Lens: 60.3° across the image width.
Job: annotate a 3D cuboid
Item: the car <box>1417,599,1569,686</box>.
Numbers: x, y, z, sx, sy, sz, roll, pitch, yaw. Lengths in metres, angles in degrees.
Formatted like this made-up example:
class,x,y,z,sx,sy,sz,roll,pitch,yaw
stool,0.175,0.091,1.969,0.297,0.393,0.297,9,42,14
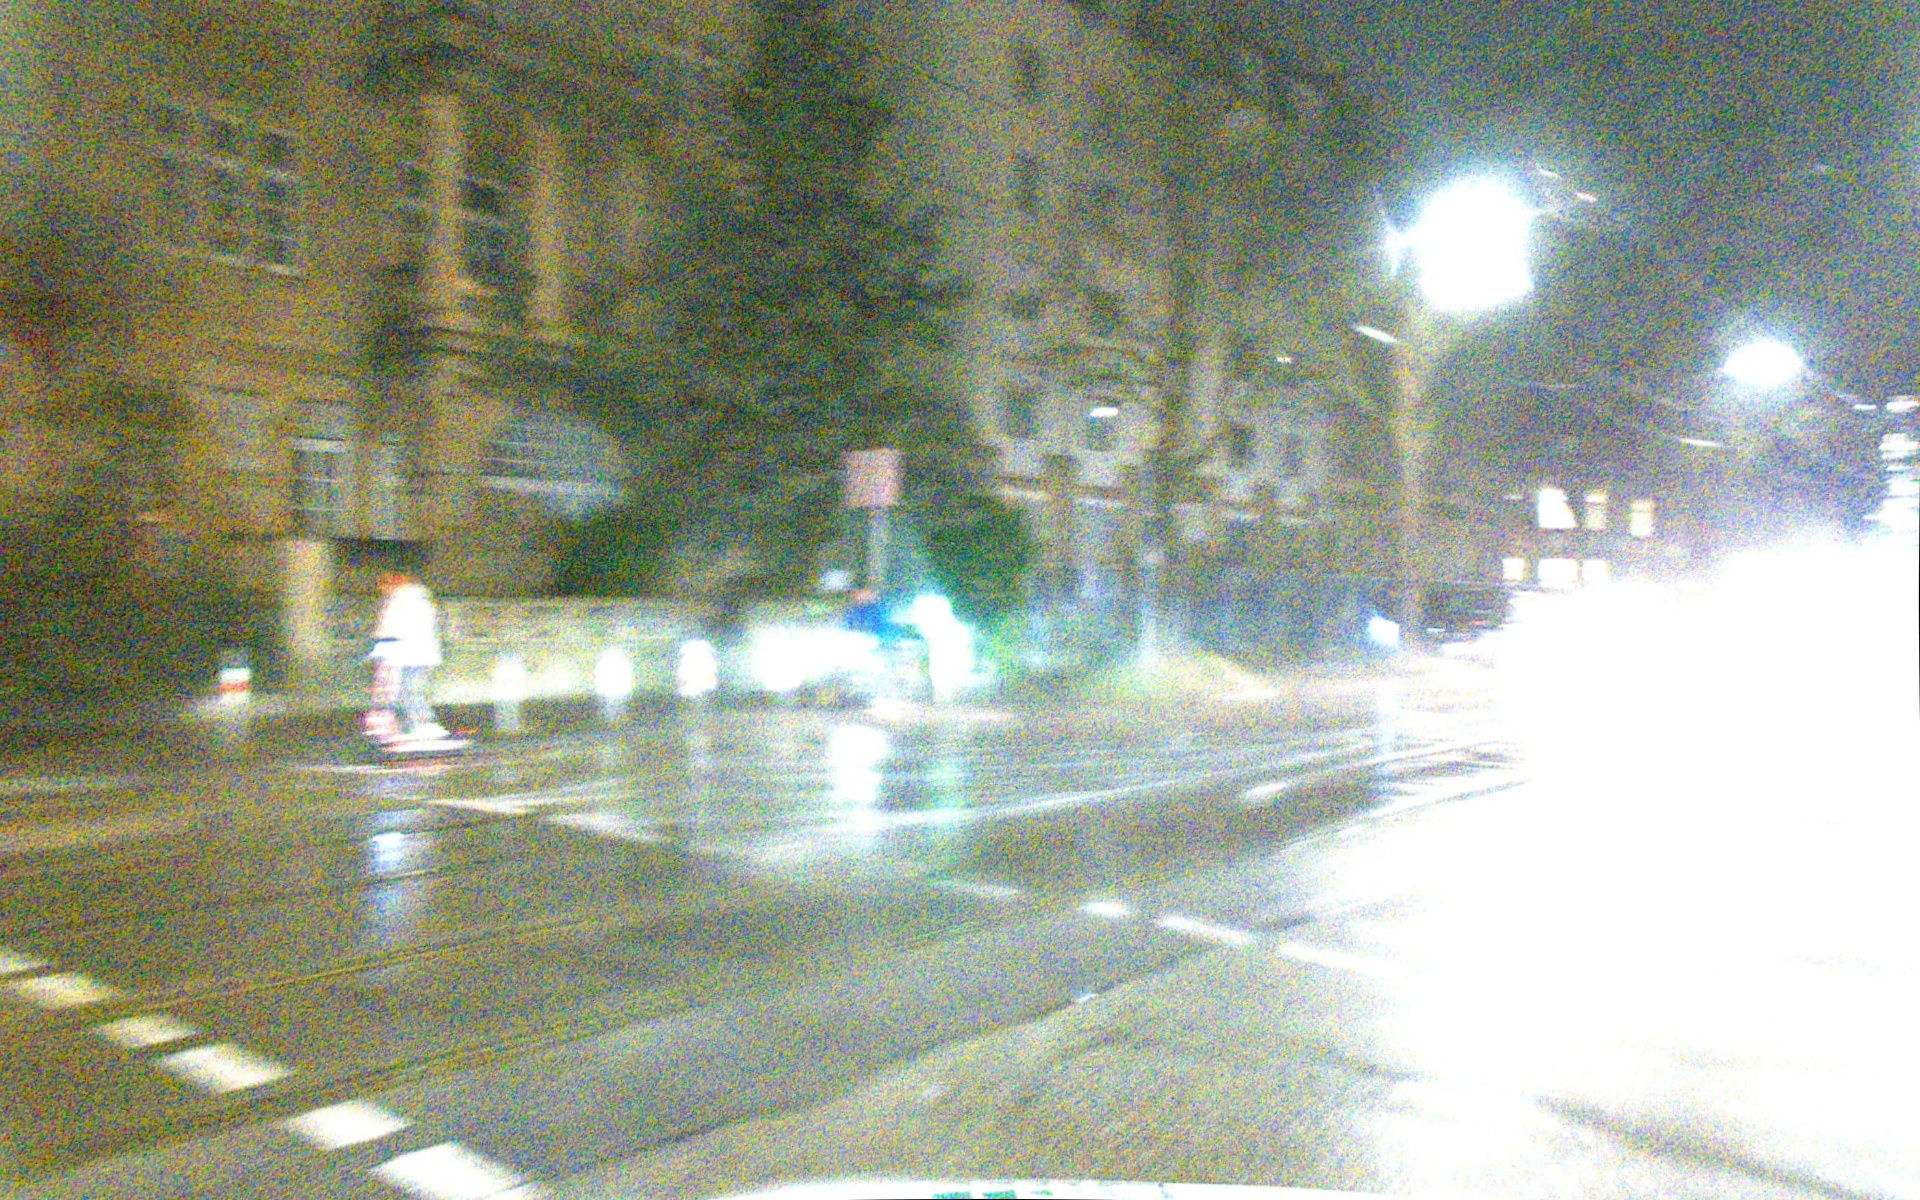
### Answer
class,x,y,z,sx,sy,sz,roll,pitch,yaw
car,13.166,0.967,40.625,1.961,1.857,5.289,4,3,36

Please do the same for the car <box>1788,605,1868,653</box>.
class,x,y,z,sx,sy,sz,roll,pitch,yaw
car,28.508,0.908,54.286,1.763,1.490,3.885,0,0,36

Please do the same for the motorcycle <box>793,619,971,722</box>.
class,x,y,z,sx,sy,sz,roll,pitch,yaw
motorcycle,-0.972,0.885,21.163,2.301,1.252,0.700,1,-2,-38

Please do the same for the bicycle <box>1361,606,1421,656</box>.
class,x,y,z,sx,sy,sz,roll,pitch,yaw
bicycle,10.517,0.774,40.364,0.644,1.161,1.888,3,0,39

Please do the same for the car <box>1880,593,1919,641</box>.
class,x,y,z,sx,sy,sz,roll,pitch,yaw
car,39.938,0.700,69.161,1.894,1.912,4.618,-2,-1,37

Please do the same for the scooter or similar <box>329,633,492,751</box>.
class,x,y,z,sx,sy,sz,roll,pitch,yaw
scooter or similar,-5.406,0.894,16.307,1.358,1.070,0.632,3,0,-43

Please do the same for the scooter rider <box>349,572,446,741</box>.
class,x,y,z,sx,sy,sz,roll,pitch,yaw
scooter rider,-5.554,0.549,16.326,0.647,1.600,0.632,3,0,-43

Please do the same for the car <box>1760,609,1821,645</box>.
class,x,y,z,sx,sy,sz,roll,pitch,yaw
car,36.395,1.196,72.466,1.641,1.410,3.984,3,1,37

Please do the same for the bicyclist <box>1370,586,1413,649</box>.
class,x,y,z,sx,sy,sz,roll,pitch,yaw
bicyclist,10.534,0.427,40.365,0.644,1.490,0.863,3,0,39

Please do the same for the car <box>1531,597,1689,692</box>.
class,x,y,z,sx,sy,sz,roll,pitch,yaw
car,14.001,0.936,35.468,1.865,1.902,4.513,-1,-2,39

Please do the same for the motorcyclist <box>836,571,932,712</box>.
class,x,y,z,sx,sy,sz,roll,pitch,yaw
motorcyclist,-0.973,0.534,21.179,1.018,1.761,0.700,1,-3,-38
